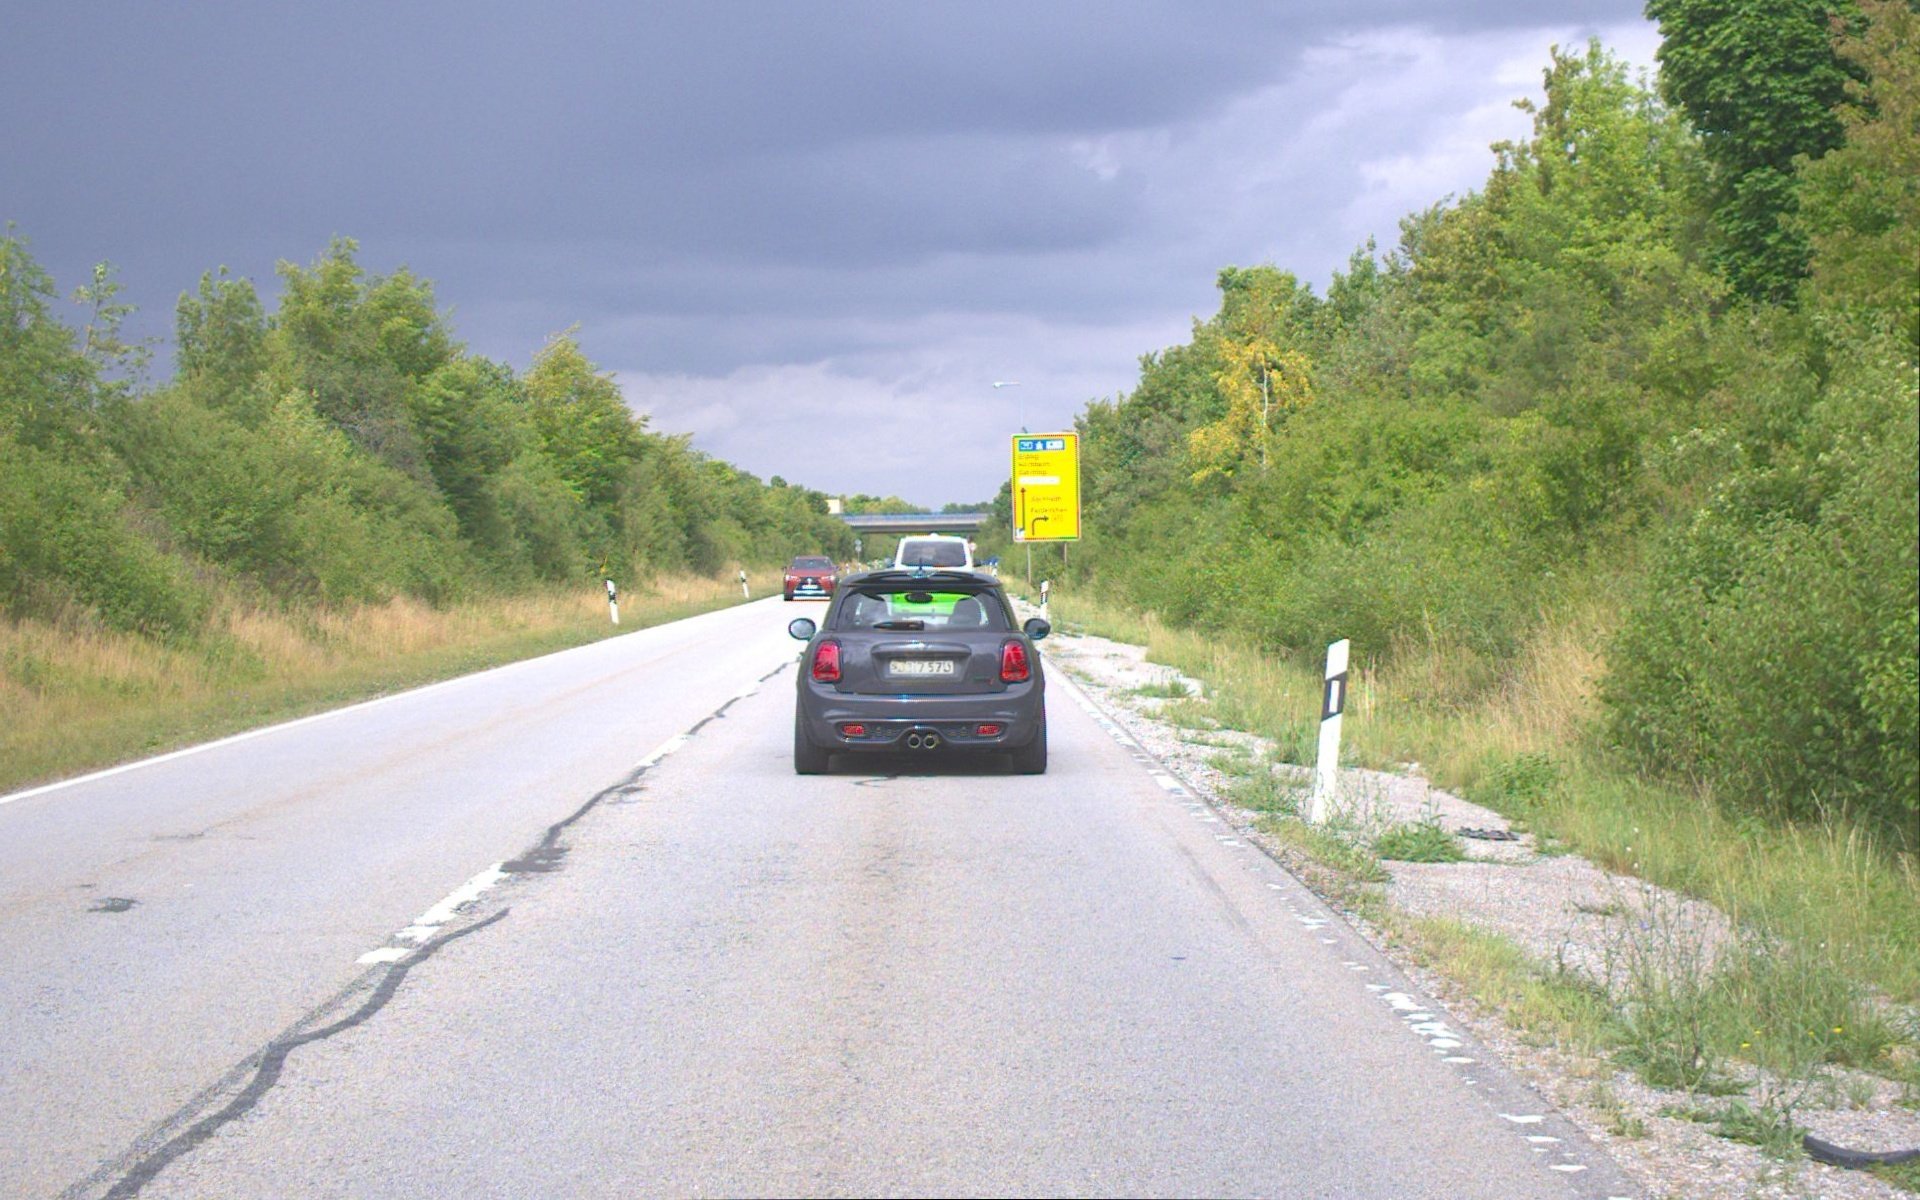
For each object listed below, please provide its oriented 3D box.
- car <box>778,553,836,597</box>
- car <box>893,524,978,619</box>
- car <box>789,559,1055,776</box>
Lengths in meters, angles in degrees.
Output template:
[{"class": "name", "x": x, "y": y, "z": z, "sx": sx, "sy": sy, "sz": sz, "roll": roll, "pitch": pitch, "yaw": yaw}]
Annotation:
[{"class": "car", "x": -5.181, "y": -0.875, "z": 117.075, "sx": 1.829, "sy": 1.460, "sz": 4.411, "roll": 0, "pitch": 1, "yaw": -1}, {"class": "car", "x": -0.558, "y": -0.643, "z": 77.334, "sx": 1.819, "sy": 2.047, "sz": 4.000, "roll": 1, "pitch": 1, "yaw": -1}, {"class": "car", "x": -0.274, "y": 0.428, "z": 24.921, "sx": 1.756, "sy": 1.422, "sz": 4.000, "roll": 1, "pitch": 1, "yaw": -1}]
